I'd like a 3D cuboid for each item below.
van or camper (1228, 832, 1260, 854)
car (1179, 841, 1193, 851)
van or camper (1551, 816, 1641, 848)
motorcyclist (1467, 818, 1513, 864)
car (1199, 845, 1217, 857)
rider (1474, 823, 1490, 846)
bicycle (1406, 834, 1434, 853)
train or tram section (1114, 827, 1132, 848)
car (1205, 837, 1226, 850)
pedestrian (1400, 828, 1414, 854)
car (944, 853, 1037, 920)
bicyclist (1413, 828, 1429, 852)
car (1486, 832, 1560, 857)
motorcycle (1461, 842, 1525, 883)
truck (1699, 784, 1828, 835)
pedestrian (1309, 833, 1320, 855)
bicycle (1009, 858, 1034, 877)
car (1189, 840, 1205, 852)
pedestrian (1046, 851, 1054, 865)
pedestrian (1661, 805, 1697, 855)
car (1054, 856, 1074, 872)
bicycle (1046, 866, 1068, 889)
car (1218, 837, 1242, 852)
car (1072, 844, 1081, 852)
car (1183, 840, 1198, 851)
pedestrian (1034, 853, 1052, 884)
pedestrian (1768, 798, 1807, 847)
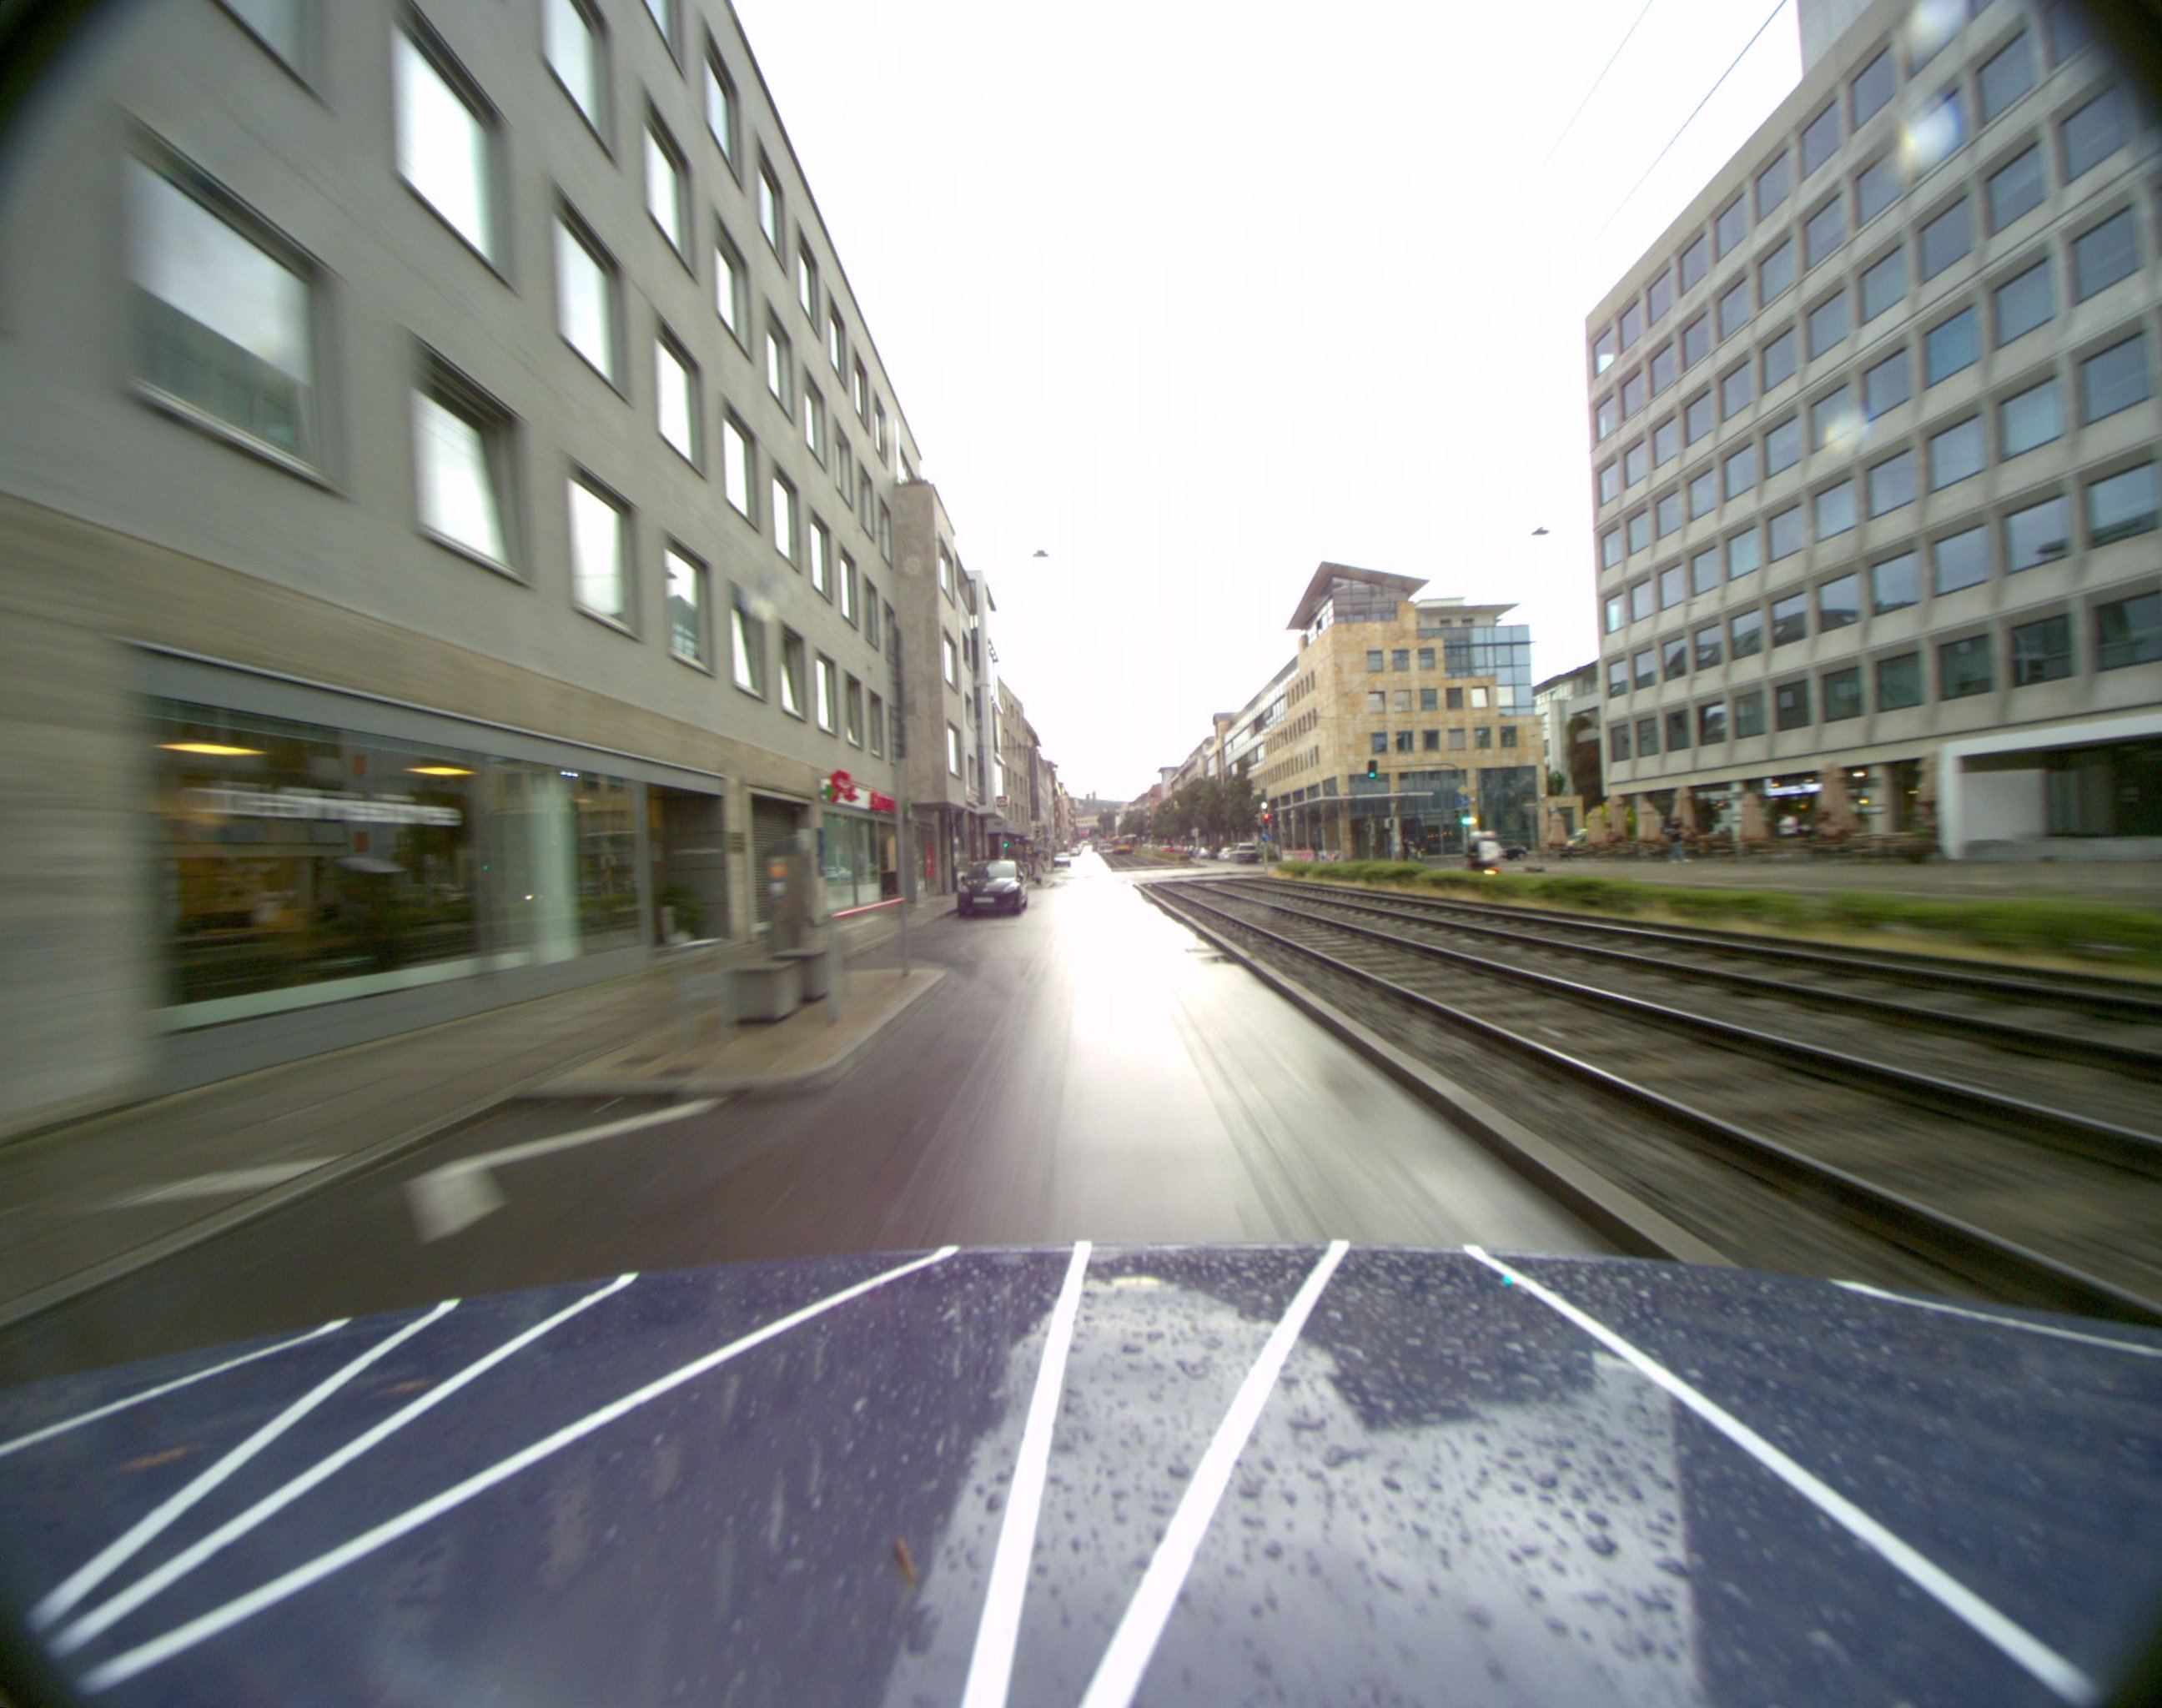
[{"bbox_3d":[15.925,-1.074,74.416,2.022,1.986,5.196,-3,2,1],"label":"van or camper"},{"bbox_3d":[16.726,-1.254,120.747,1.653,1.532,4.621,-2,1,1],"label":"car"},{"bbox_3d":[37.658,-1.599,55.650,5.095,2.050,2.096,-3,0,0],"label":"van or camper"},{"bbox_3d":[11.408,-0.359,21.213,0.743,1.210,0.970,-3,1,3],"label":"motorcyclist"},{"bbox_3d":[16.246,-0.410,97.443,1.653,1.489,4.192,-2,1,1],"label":"car"},{"bbox_3d":[30.252,-1.456,57.315,0.710,1.666,0.784,-3,1,1],"label":"rider"},{"bbox_3d":[25.432,-0.774,56.970,1.768,1.303,0.660,-3,1,0],"label":"bicycle"},{"bbox_3d":[8.682,-3.531,160.088,2.909,4.027,18.763,-2,2,1],"label":"train or tram section"},{"bbox_3d":[16.345,-1.225,92.592,1.693,1.477,3.999,-3,0,0],"label":"car"},{"bbox_3d":[23.069,-0.905,53.739,0.677,1.771,0.705,-3,1,36],"label":"pedestrian"},{"bbox_3d":[-2.465,0.836,21.809,1.998,1.585,4.270,-2,1,1],"label":"car"},{"bbox_3d":[25.483,-1.041,56.961,0.710,1.794,0.784,-3,1,1],"label":"bicyclist"},{"bbox_3d":[30.814,-0.662,53.014,3.996,1.521,1.891,-3,0,2],"label":"car"},{"bbox_3d":[11.438,0.200,21.166,0.744,1.053,1.931,-3,1,3],"label":"motorcycle"},{"bbox_3d":[49.572,-3.194,55.302,7.167,3.145,2.461,-3,1,0],"label":"truck"},{"bbox_3d":[20.463,-0.876,66.673,0.703,1.804,0.679,-3,1,3],"label":"pedestrian"},{"bbox_3d":[-3.763,0.871,47.867,0.579,1.151,1.951,-4,1,-35],"label":"bicycle"},{"bbox_3d":[16.440,-1.206,108.217,1.653,1.592,4.292,-2,1,1],"label":"car"},{"bbox_3d":[-3.608,0.470,89.065,0.793,1.650,0.721,-4,2,1],"label":"pedestrian"},{"bbox_3d":[22.145,-0.887,28.158,0.566,1.812,0.844,-3,1,-3],"label":"pedestrian"},{"bbox_3d":[-1.822,1.048,82.799,2.029,1.585,4.619,-2,1,0],"label":"car"},{"bbox_3d":[-1.372,1.310,42.964,0.499,1.251,1.953,-4,1,-24],"label":"bicycle"},{"bbox_3d":[16.038,-1.002,82.114,1.693,1.477,4.255,-3,0,0],"label":"car"},{"bbox_3d":[-0.815,-1.226,150.530,1.653,1.489,4.067,-2,1,1],"label":"car"},{"bbox_3d":[16.637,-1.329,115.097,1.653,1.532,4.621,-2,1,1],"label":"car"},{"bbox_3d":[-1.966,0.738,38.876,0.662,1.573,0.778,-3,1,-21],"label":"pedestrian"},{"bbox_3d":[25.769,-1.127,27.731,0.566,1.738,0.844,-3,1,-3],"label":"pedestrian"}]
